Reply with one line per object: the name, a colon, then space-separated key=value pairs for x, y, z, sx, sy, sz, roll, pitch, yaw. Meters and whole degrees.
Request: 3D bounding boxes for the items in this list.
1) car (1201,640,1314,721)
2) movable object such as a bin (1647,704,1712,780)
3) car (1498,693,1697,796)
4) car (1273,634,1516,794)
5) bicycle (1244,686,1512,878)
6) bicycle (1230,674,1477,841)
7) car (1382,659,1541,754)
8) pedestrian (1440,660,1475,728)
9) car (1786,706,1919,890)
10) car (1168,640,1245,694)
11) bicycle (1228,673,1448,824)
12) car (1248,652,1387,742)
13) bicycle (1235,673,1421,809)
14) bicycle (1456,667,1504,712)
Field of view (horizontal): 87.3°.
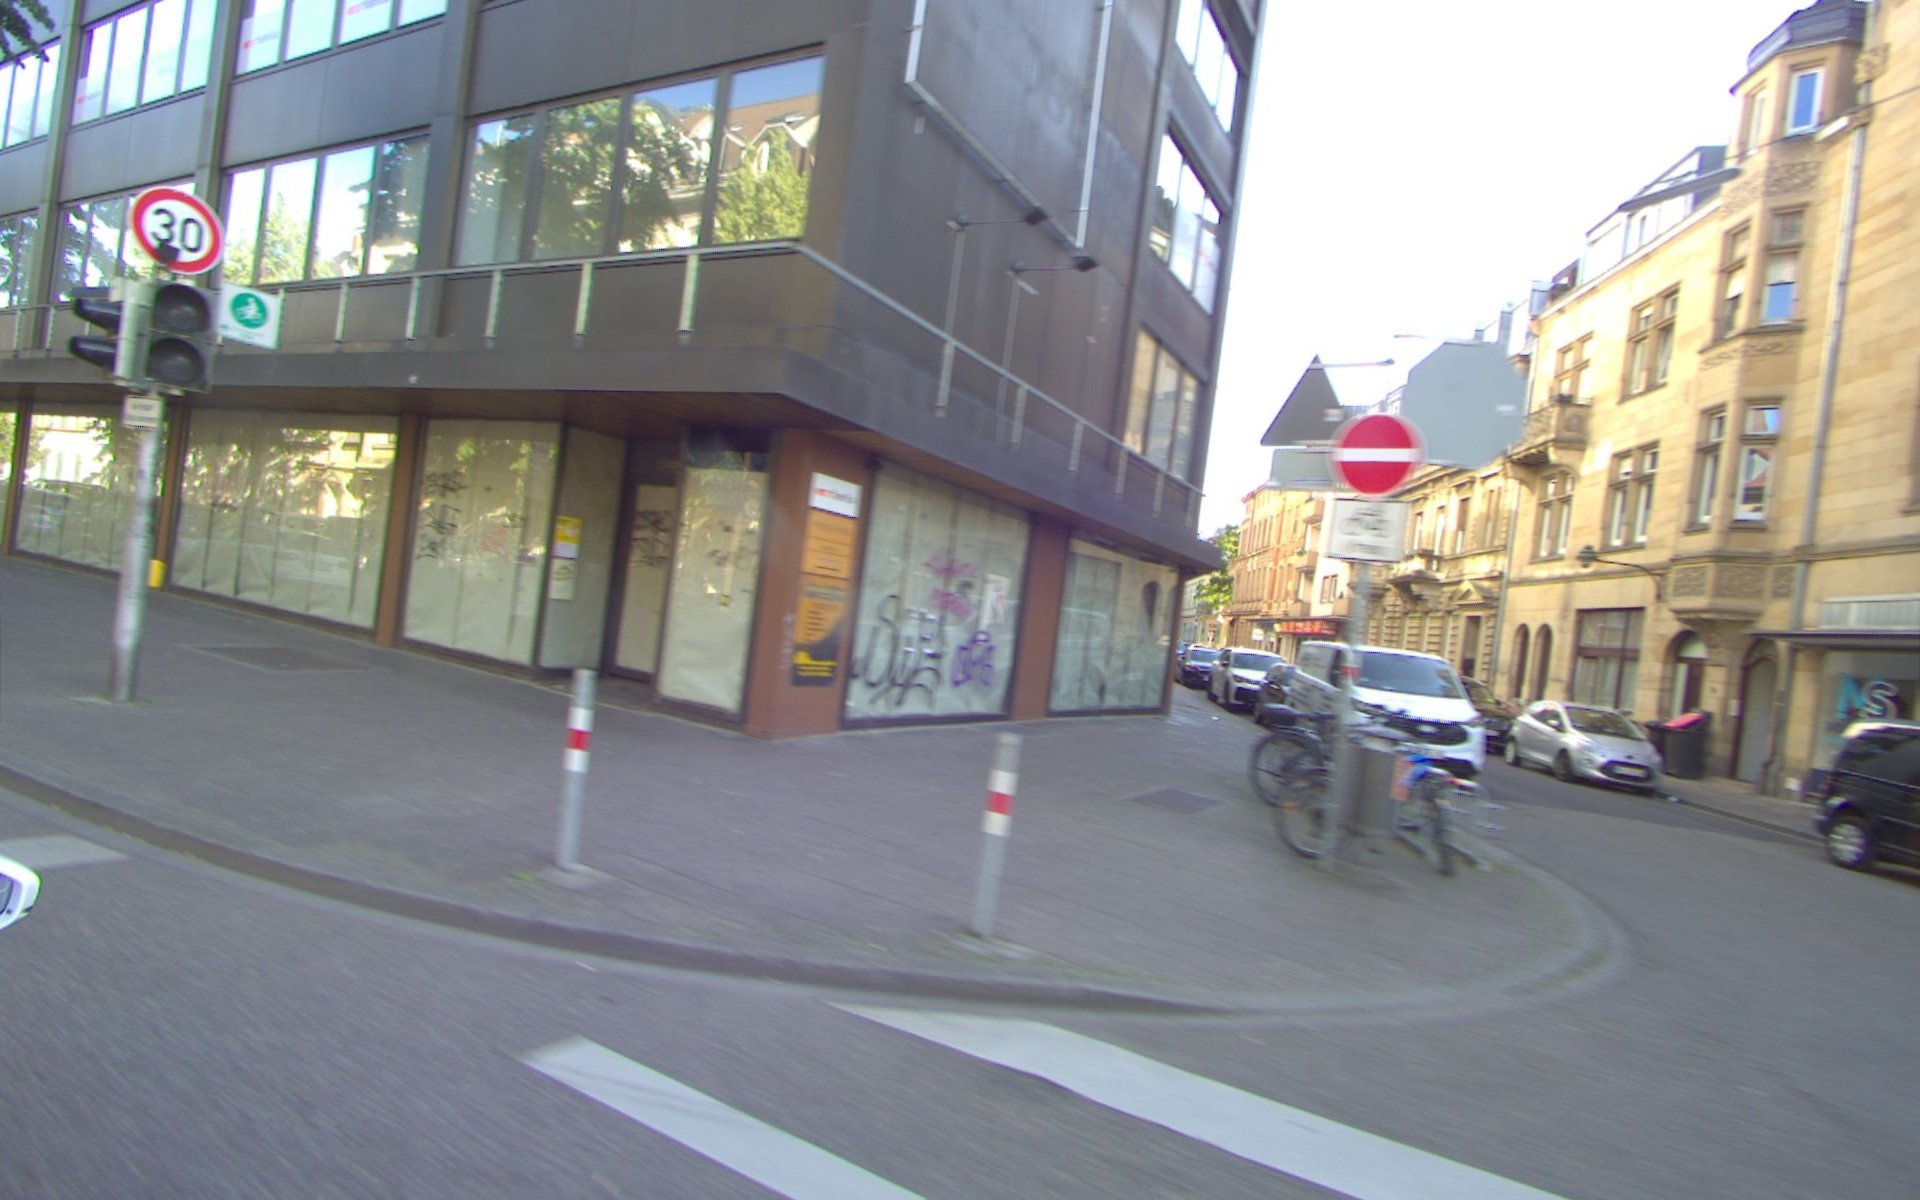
car: x=7.924 y=2.097 z=27.195 sx=1.962 sy=1.697 sz=4.320 roll=8 pitch=-1 yaw=6
movable object such as a bin: x=15.275 y=2.999 z=21.375 sx=0.671 sy=1.435 sz=0.760 roll=7 pitch=1 yaw=7
car: x=12.232 y=2.718 z=19.609 sx=1.742 sy=1.428 sz=3.672 roll=6 pitch=-1 yaw=7
car: x=6.888 y=1.686 z=16.676 sx=2.078 sy=1.952 sz=4.955 roll=8 pitch=-1 yaw=6
bicycle: x=3.181 y=1.379 z=7.700 sx=1.716 sy=1.176 sz=0.572 roll=8 pitch=1 yaw=-9
bicycle: x=3.772 y=1.500 z=9.741 sx=1.981 sy=1.175 sz=0.573 roll=11 pitch=1 yaw=1
car: x=12.501 y=2.594 z=25.463 sx=1.962 sy=1.793 sz=4.456 roll=8 pitch=-1 yaw=6
pedestrian: x=15.713 y=2.965 z=31.801 sx=0.632 sy=2.039 sz=0.456 roll=7 pitch=1 yaw=4
car: x=11.175 y=2.291 z=10.300 sx=1.962 sy=1.793 sz=4.320 roll=8 pitch=-1 yaw=6
car: x=8.902 y=2.376 z=36.700 sx=1.962 sy=1.524 sz=4.320 roll=8 pitch=-1 yaw=6
bicycle: x=3.884 y=1.515 z=10.420 sx=1.892 sy=1.146 sz=0.573 roll=11 pitch=1 yaw=1
car: x=7.606 y=2.022 z=21.795 sx=1.942 sy=1.429 sz=3.669 roll=6 pitch=0 yaw=7
bicycle: x=4.112 y=1.564 z=11.337 sx=1.714 sy=1.146 sz=0.573 roll=11 pitch=1 yaw=5
bicycle: x=16.497 y=2.826 z=31.961 sx=0.556 sy=1.229 sz=1.864 roll=7 pitch=0 yaw=6
